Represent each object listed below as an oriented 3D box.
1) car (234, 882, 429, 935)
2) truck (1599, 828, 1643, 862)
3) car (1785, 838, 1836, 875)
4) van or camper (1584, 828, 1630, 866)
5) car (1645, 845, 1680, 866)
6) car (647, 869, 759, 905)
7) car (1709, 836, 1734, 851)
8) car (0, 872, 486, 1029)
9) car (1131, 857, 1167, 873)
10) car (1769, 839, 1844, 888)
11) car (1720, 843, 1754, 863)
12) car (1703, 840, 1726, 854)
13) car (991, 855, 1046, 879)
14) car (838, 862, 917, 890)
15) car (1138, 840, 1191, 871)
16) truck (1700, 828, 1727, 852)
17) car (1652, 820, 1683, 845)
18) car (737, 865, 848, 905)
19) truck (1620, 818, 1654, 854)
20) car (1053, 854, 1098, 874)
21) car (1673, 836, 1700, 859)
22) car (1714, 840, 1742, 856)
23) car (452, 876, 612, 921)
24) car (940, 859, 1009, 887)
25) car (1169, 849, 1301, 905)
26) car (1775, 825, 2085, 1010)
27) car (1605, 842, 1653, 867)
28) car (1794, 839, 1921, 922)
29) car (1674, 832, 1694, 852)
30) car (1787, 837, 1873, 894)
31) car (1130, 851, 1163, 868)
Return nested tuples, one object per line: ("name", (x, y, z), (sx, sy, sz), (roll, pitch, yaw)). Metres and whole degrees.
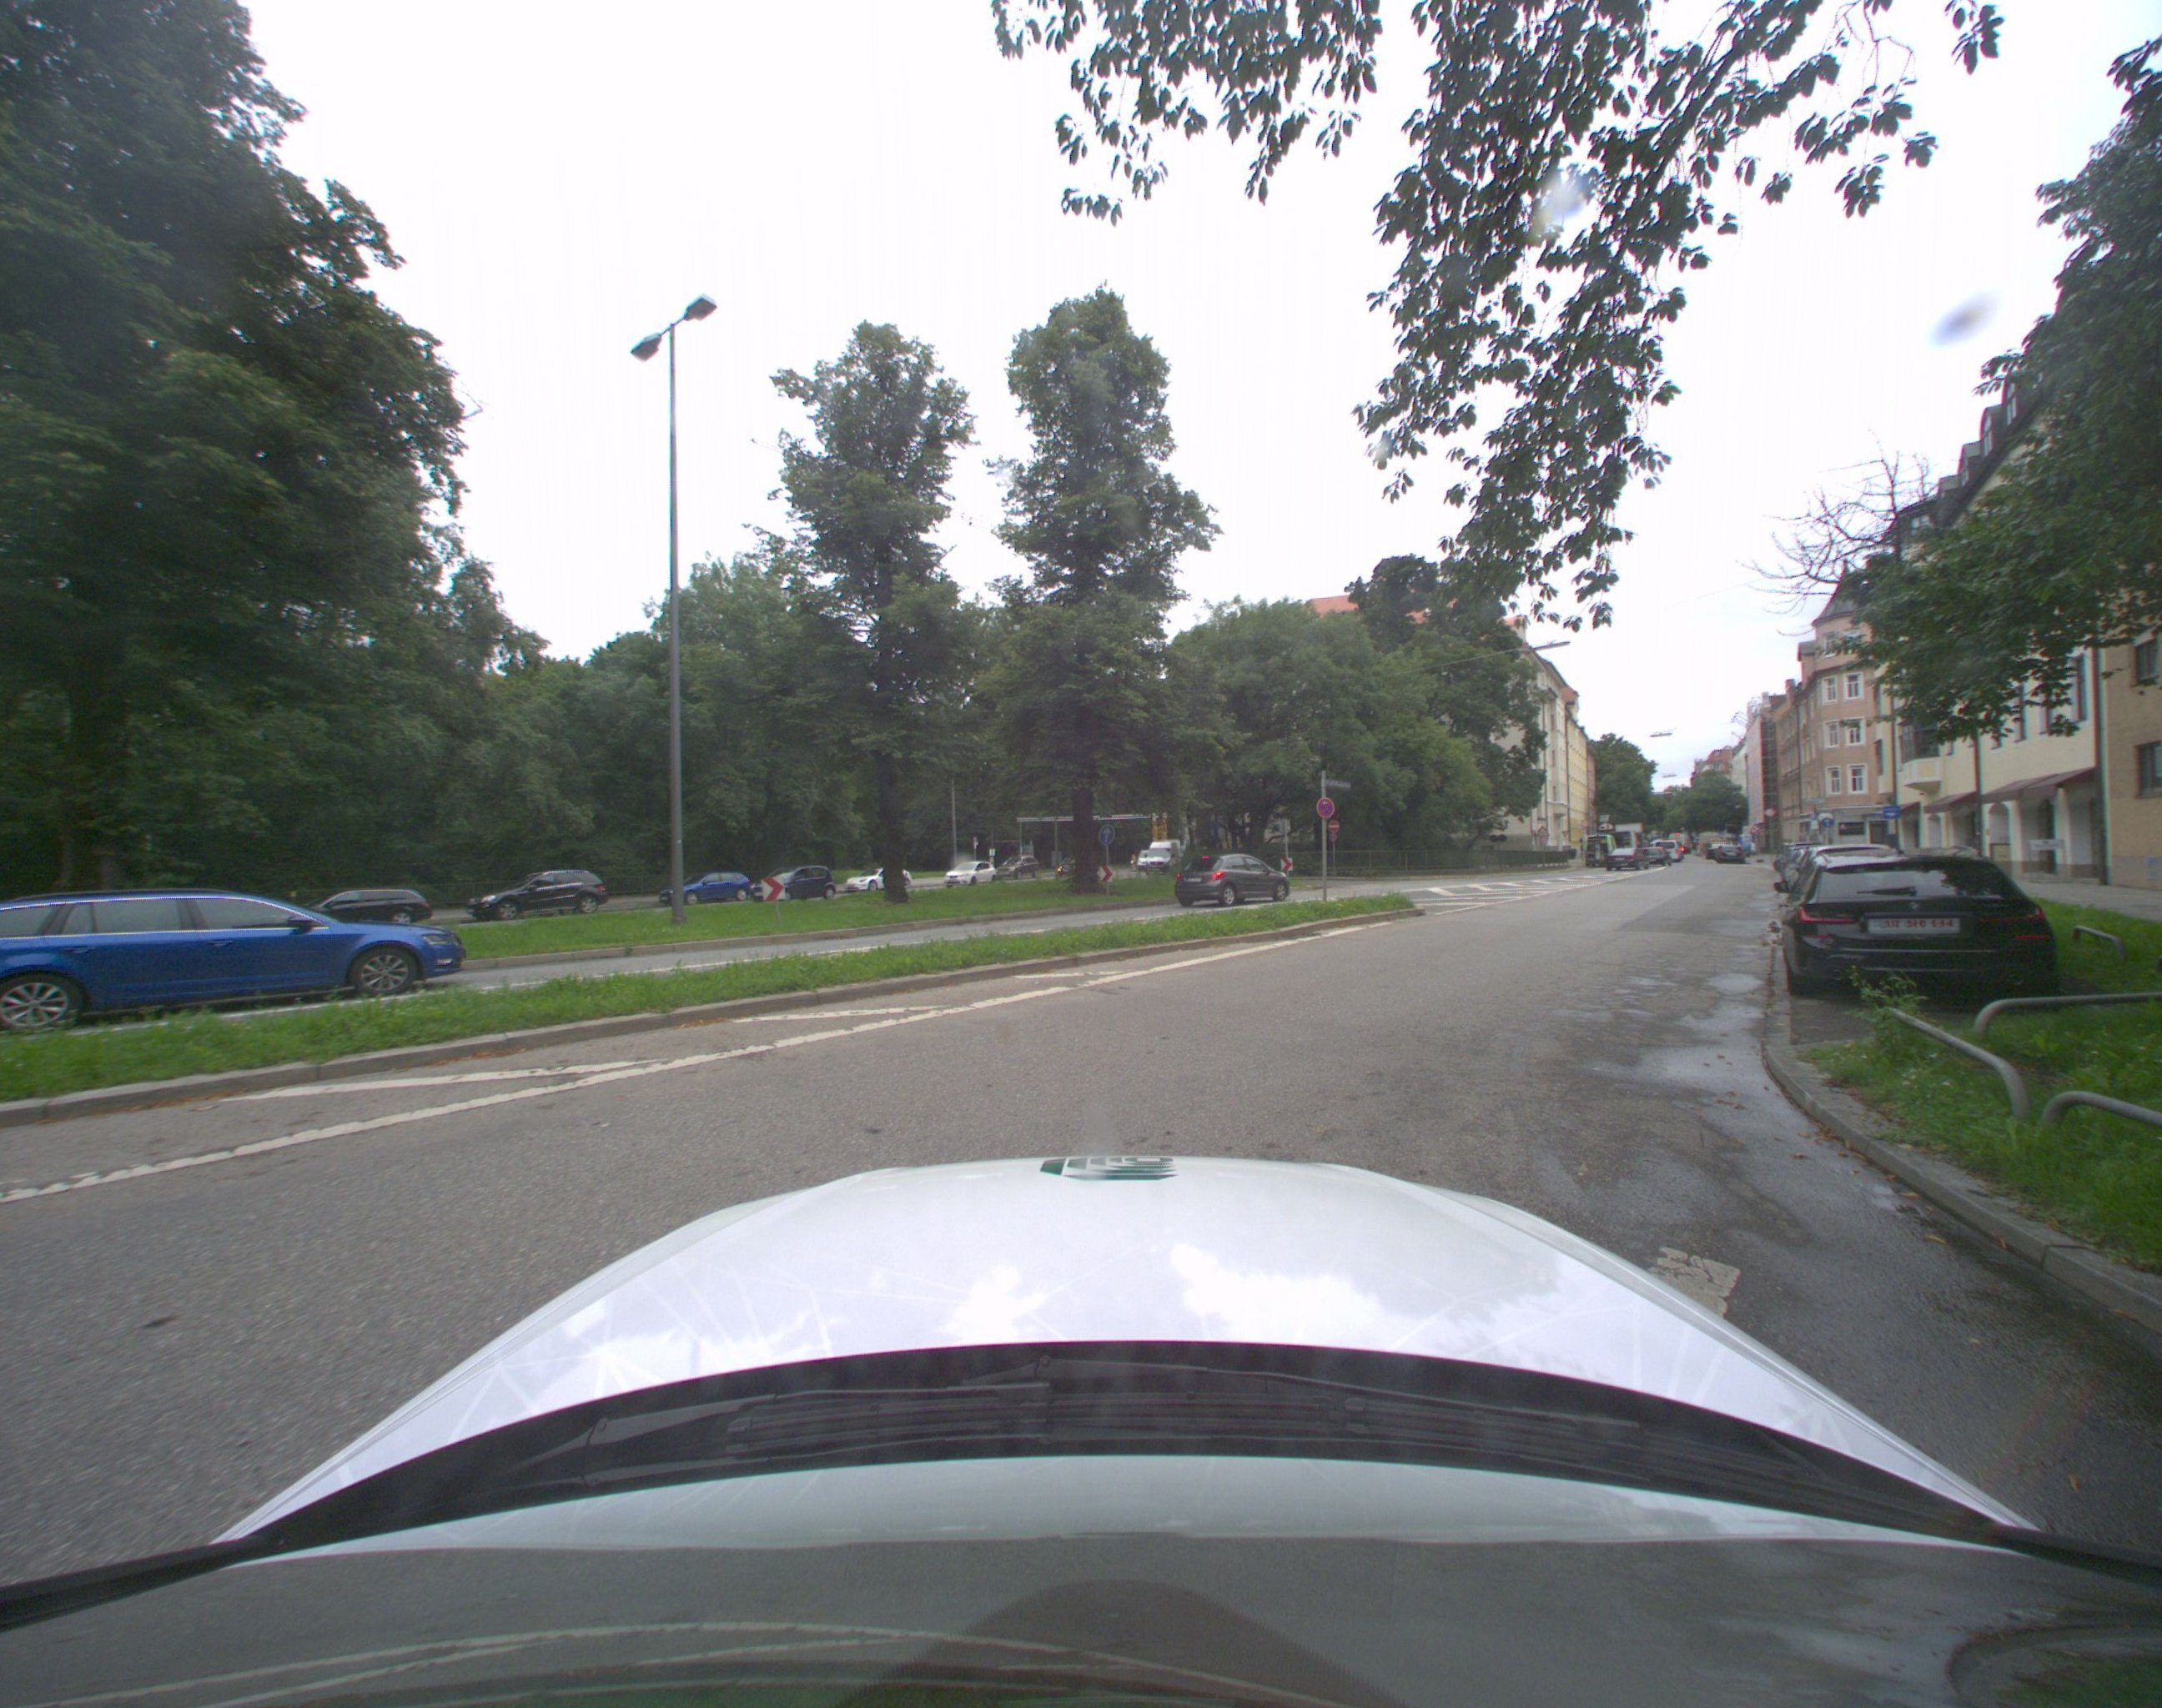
("car", (-24.697, 1.755, 27.008), (1.974, 1.446, 4.345), (-3, -1, 29))
("truck", (49.331, -0.895, 74.290), (2.746, 2.873, 7.248), (-2, 0, 38))
("car", (36.697, 0.101, 41.069), (1.739, 1.679, 4.736), (-4, -2, 41))
("van or camper", (43.125, -0.610, 66.699), (2.575, 2.840, 6.226), (-2, 0, 37))
("car", (43.309, 0.092, 60.590), (1.971, 1.429, 4.167), (-2, 0, 37))
("car", (-17.773, 1.519, 38.525), (1.974, 1.446, 4.451), (-3, -1, 29))
("car", (65.928, -1.072, 83.888), (1.971, 1.429, 4.167), (-2, 0, 37))
("car", (-10.378, 1.026, 9.951), (1.969, 1.454, 4.762), (-2, -1, 45))
("car", (6.777, 1.041, 80.748), (1.873, 1.446, 4.415), (-2, 0, 28))
("car", (24.917, 0.288, 28.063), (1.739, 1.496, 4.515), (-4, -2, 41))
("car", (52.349, -0.082, 65.063), (1.826, 1.429, 4.210), (2, 3, 36))
("car", (71.005, -0.796, 91.319), (1.971, 1.429, 4.167), (-2, 0, 37))
("car", (-4.792, 0.975, 62.909), (1.974, 1.718, 4.677), (-3, -1, 29))
("car", (-11.989, 1.287, 48.288), (1.974, 1.446, 4.451), (-3, -1, 29))
("car", (6.624, 0.110, 64.384), (2.279, 2.270, 5.160), (-2, -1, 29))
("truck", (80.876, -1.742, 104.213), (2.467, 2.973, 5.362), (-1, 0, 36))
("car", (50.423, -1.857, 69.987), (1.971, 2.075, 4.167), (-2, 0, 37))
("car", (-11.849, 1.244, 33.713), (1.873, 1.446, 4.058), (-2, 0, 28))
("truck", (63.486, -2.037, 92.938), (2.983, 3.951, 7.040), (-1, 0, 35))
("car", (-0.397, 0.799, 66.507), (1.873, 1.446, 4.058), (-2, 0, 28))
("car", (57.272, -0.648, 77.009), (1.974, 2.013, 4.026), (-2, 1, 37))
("car", (61.010, -0.594, 76.806), (1.826, 1.429, 4.334), (2, 3, 36))
("car", (-21.446, 1.717, 32.047), (1.974, 1.446, 4.798), (-3, -1, 29))
("car", (-5.965, 1.055, 46.124), (1.811, 1.446, 4.260), (-3, -1, 24))
("car", (4.586, 0.643, 23.919), (4.097, 1.461, 1.743), (-1, -1, -44))
("car", (8.803, 0.551, 8.863), (1.774, 1.497, 4.403), (-6, -3, 40))
("car", (35.704, 0.022, 53.007), (1.971, 1.429, 4.937), (-2, 0, 40))
("car", (15.660, 0.487, 16.584), (1.612, 1.496, 3.844), (-4, -2, 41))
("car", (78.421, -1.574, 105.885), (1.921, 2.480, 4.813), (-1, 0, 38))
("car", (22.159, 0.305, 24.224), (1.674, 1.496, 4.462), (-4, -2, 41))
("car", (6.113, 0.519, 75.348), (1.875, 1.446, 4.322), (-2, 0, 21))
